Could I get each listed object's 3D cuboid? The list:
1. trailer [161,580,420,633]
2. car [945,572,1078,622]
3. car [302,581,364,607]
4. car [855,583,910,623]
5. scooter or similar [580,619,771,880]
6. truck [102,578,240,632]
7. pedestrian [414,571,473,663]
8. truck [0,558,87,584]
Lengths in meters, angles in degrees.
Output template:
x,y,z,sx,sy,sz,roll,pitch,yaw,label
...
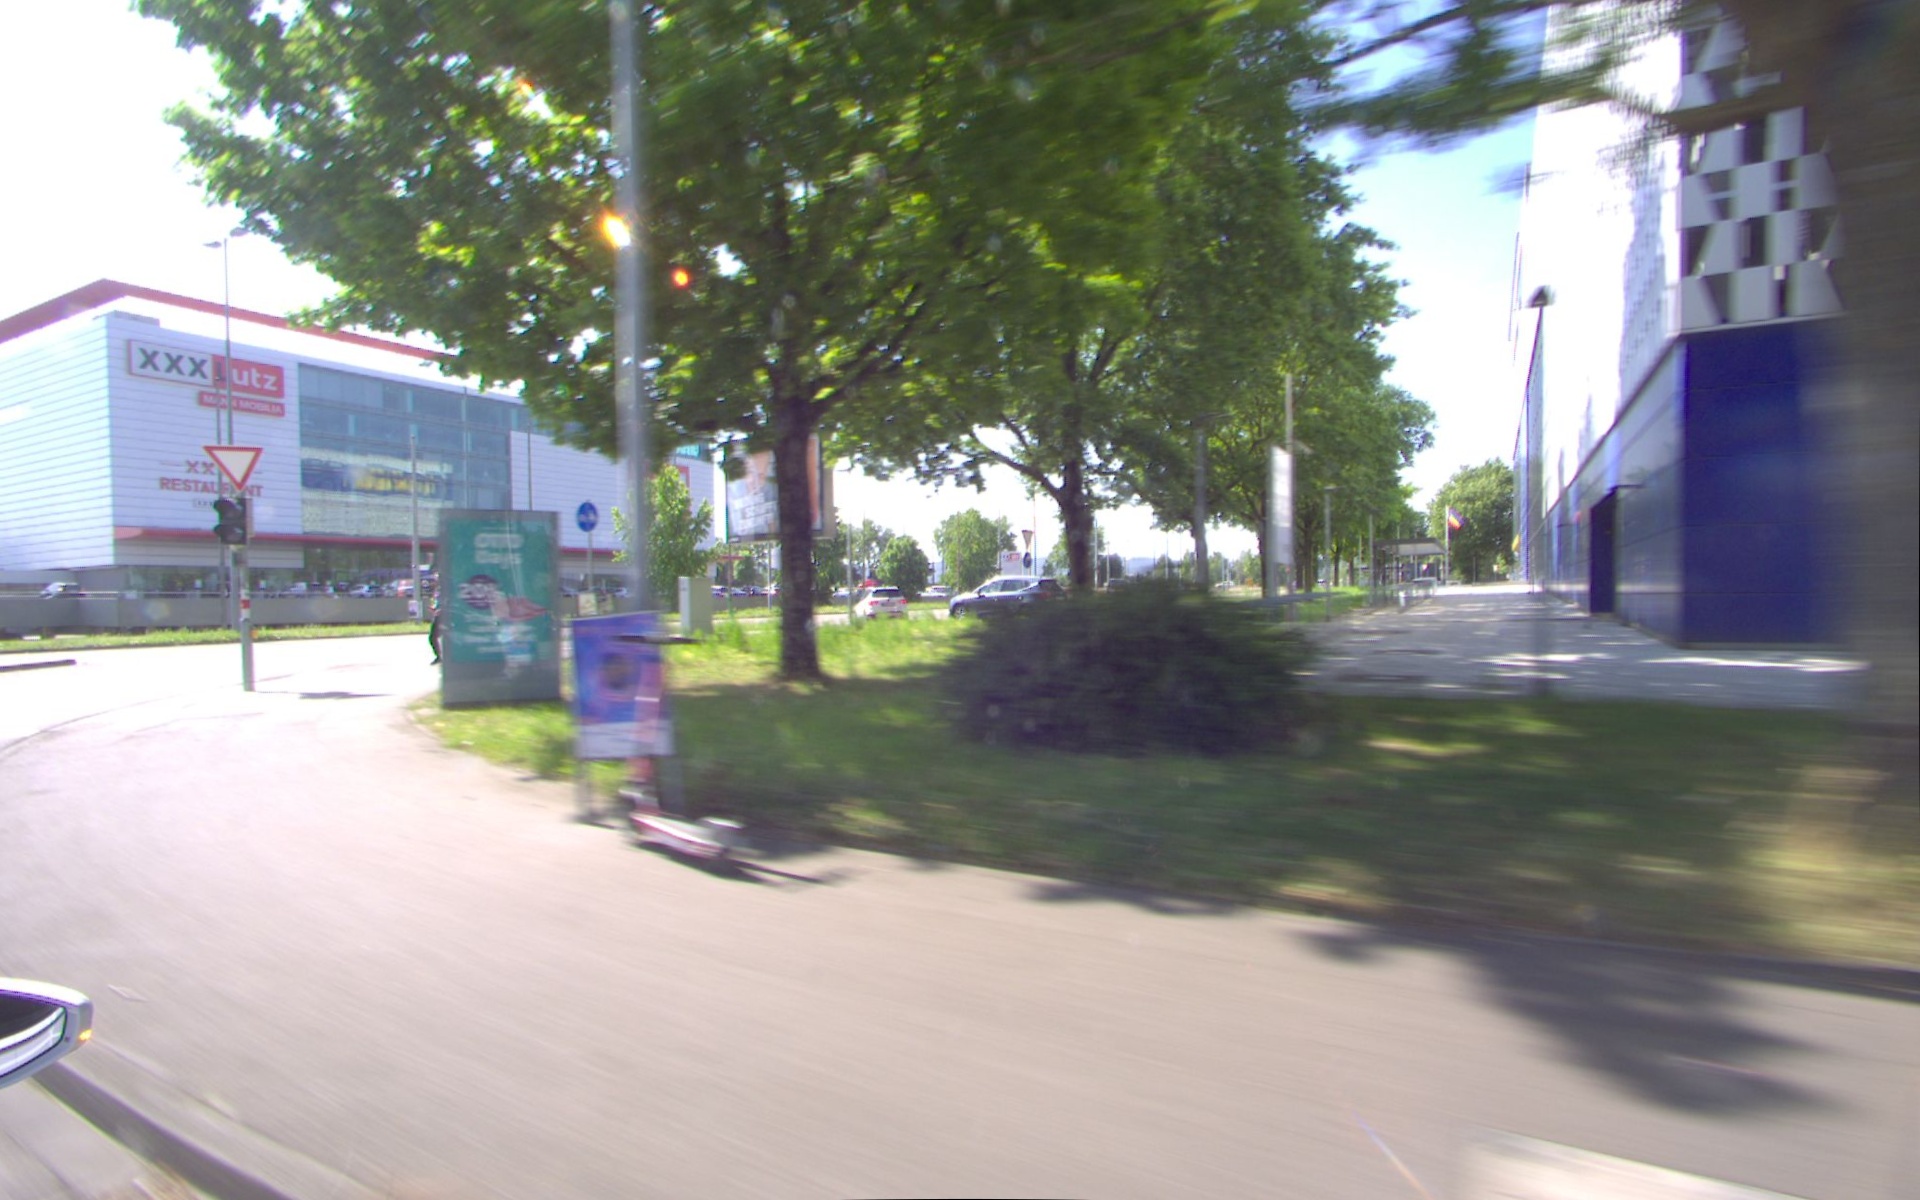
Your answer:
x,y,z,sx,sy,sz,roll,pitch,yaw,label
-35.390,0.475,53.814,1.971,2.501,11.855,1,-1,31,trailer
1.600,-0.082,31.683,3.877,1.509,1.779,0,1,38,car
-53.111,-0.516,84.918,1.968,2.040,3.986,1,-1,27,car
-3.133,0.112,39.901,1.758,1.509,3.923,-1,0,-11,car
-1.571,0.736,5.425,1.296,1.250,0.349,0,2,43,scooter or similar
-38.384,0.289,48.860,1.970,2.455,4.874,1,-1,31,truck
-10.235,0.332,19.837,0.791,1.794,0.628,0,1,18,pedestrian
-84.020,-2.641,91.668,1.970,2.040,5.903,1,-1,31,truck
